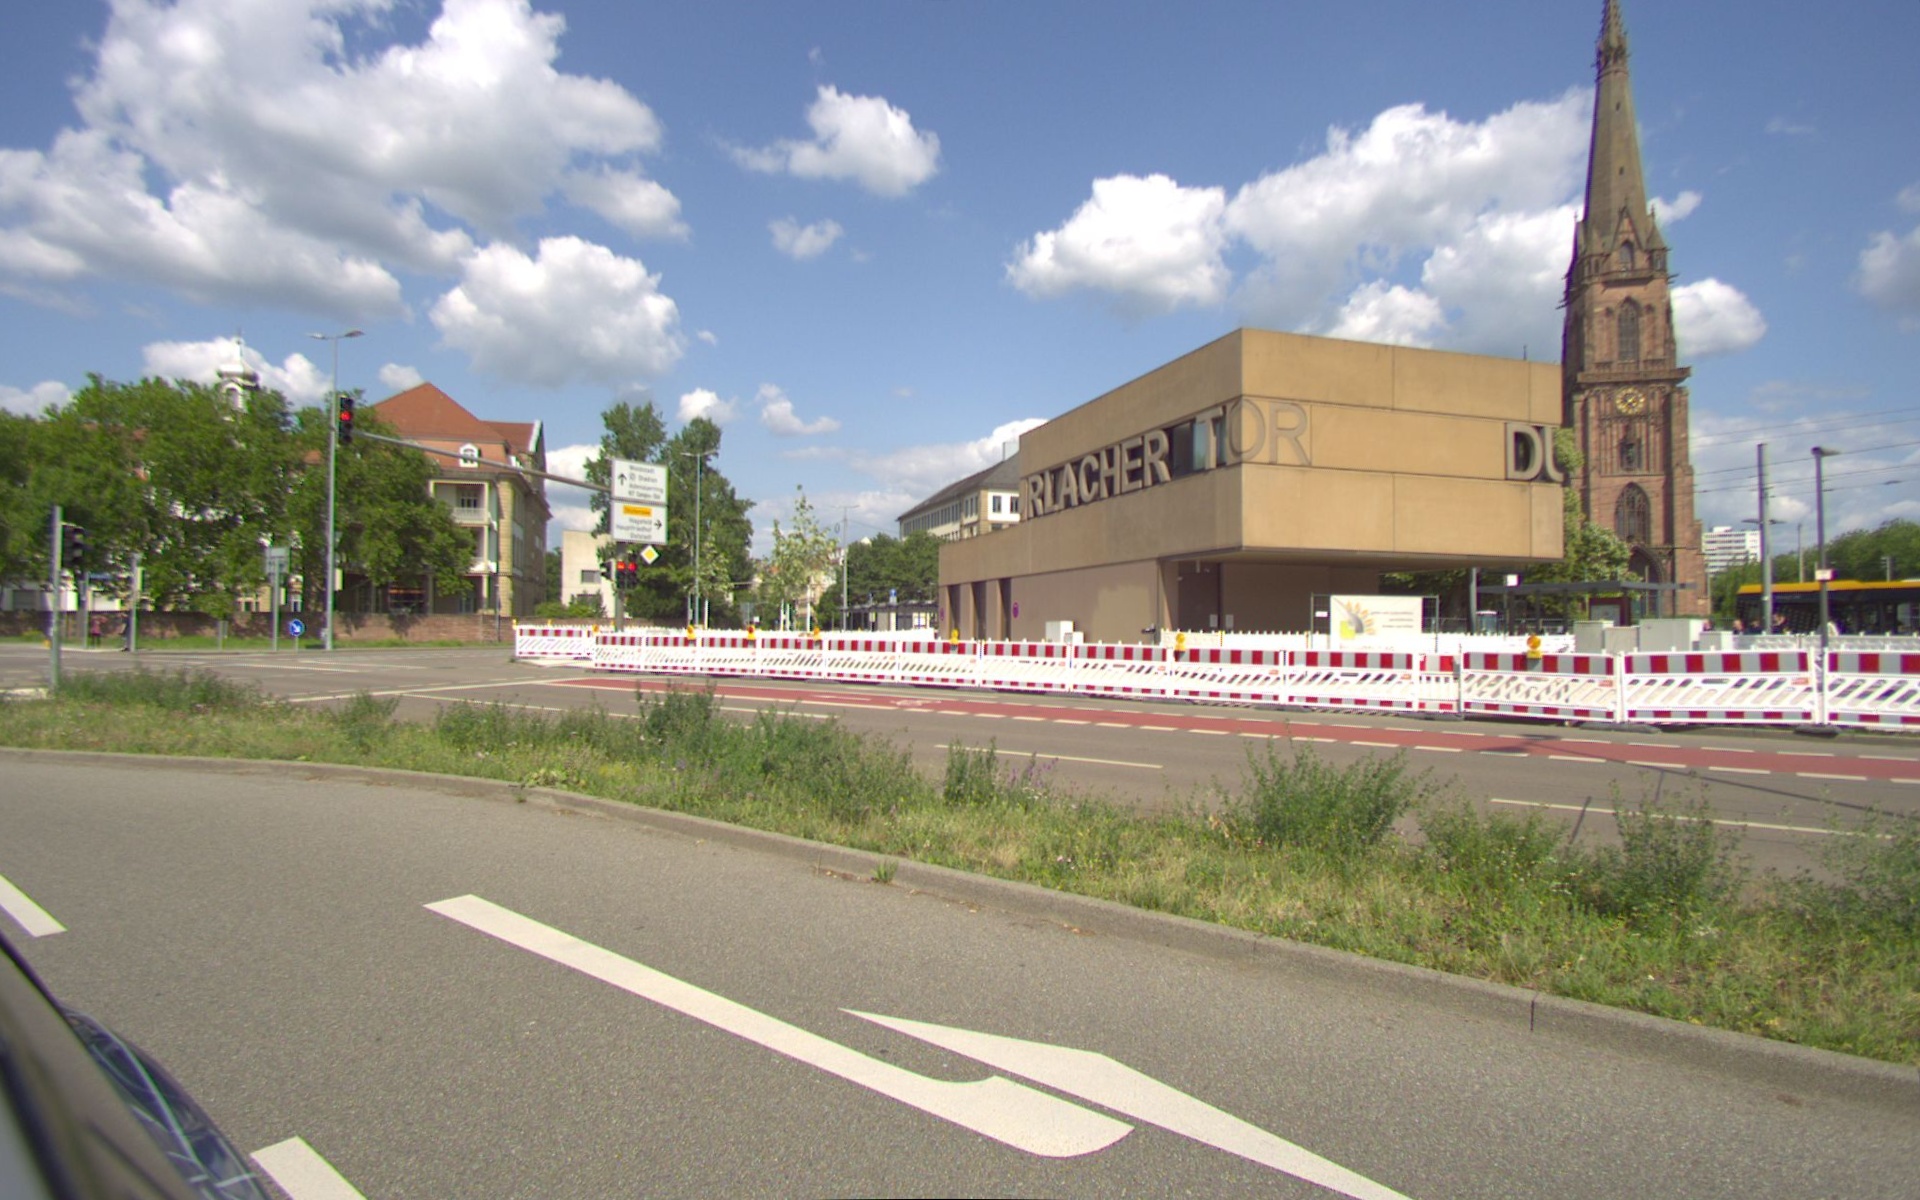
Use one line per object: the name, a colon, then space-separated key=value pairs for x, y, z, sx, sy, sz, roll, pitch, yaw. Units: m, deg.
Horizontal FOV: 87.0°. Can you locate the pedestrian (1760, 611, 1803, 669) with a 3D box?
pedestrian: x=23.557 y=1.146 z=29.023 sx=0.752 sy=1.644 sz=0.655 roll=1 pitch=-2 yaw=-23

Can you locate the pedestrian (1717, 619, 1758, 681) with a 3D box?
pedestrian: x=21.010 y=1.344 z=27.354 sx=0.763 sy=1.644 sz=0.646 roll=-1 pitch=-2 yaw=30

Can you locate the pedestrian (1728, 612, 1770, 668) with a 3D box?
pedestrian: x=23.172 y=1.165 z=29.737 sx=0.752 sy=1.644 sz=0.655 roll=1 pitch=-2 yaw=-22

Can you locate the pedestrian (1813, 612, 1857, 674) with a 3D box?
pedestrian: x=23.711 y=1.147 z=27.420 sx=0.753 sy=1.644 sz=0.655 roll=1 pitch=-2 yaw=-28

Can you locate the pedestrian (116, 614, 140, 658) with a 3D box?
pedestrian: x=-38.375 y=1.653 z=46.678 sx=0.616 sy=2.009 sz=0.579 roll=-1 pitch=0 yaw=13

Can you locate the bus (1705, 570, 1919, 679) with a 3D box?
bus: x=29.267 y=0.699 z=29.428 sx=2.785 sy=3.160 sz=12.880 roll=1 pitch=-2 yaw=-19

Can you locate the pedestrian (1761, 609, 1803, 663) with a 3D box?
pedestrian: x=25.680 y=1.120 z=31.615 sx=0.641 sy=1.644 sz=0.768 roll=1 pitch=-2 yaw=-23

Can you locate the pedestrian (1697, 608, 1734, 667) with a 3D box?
pedestrian: x=21.227 y=1.039 z=28.437 sx=0.720 sy=1.642 sz=0.561 roll=1 pitch=-2 yaw=-27

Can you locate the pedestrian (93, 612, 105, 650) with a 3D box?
pedestrian: x=-40.087 y=1.439 z=47.130 sx=0.451 sy=1.745 sz=0.364 roll=-1 pitch=0 yaw=42
